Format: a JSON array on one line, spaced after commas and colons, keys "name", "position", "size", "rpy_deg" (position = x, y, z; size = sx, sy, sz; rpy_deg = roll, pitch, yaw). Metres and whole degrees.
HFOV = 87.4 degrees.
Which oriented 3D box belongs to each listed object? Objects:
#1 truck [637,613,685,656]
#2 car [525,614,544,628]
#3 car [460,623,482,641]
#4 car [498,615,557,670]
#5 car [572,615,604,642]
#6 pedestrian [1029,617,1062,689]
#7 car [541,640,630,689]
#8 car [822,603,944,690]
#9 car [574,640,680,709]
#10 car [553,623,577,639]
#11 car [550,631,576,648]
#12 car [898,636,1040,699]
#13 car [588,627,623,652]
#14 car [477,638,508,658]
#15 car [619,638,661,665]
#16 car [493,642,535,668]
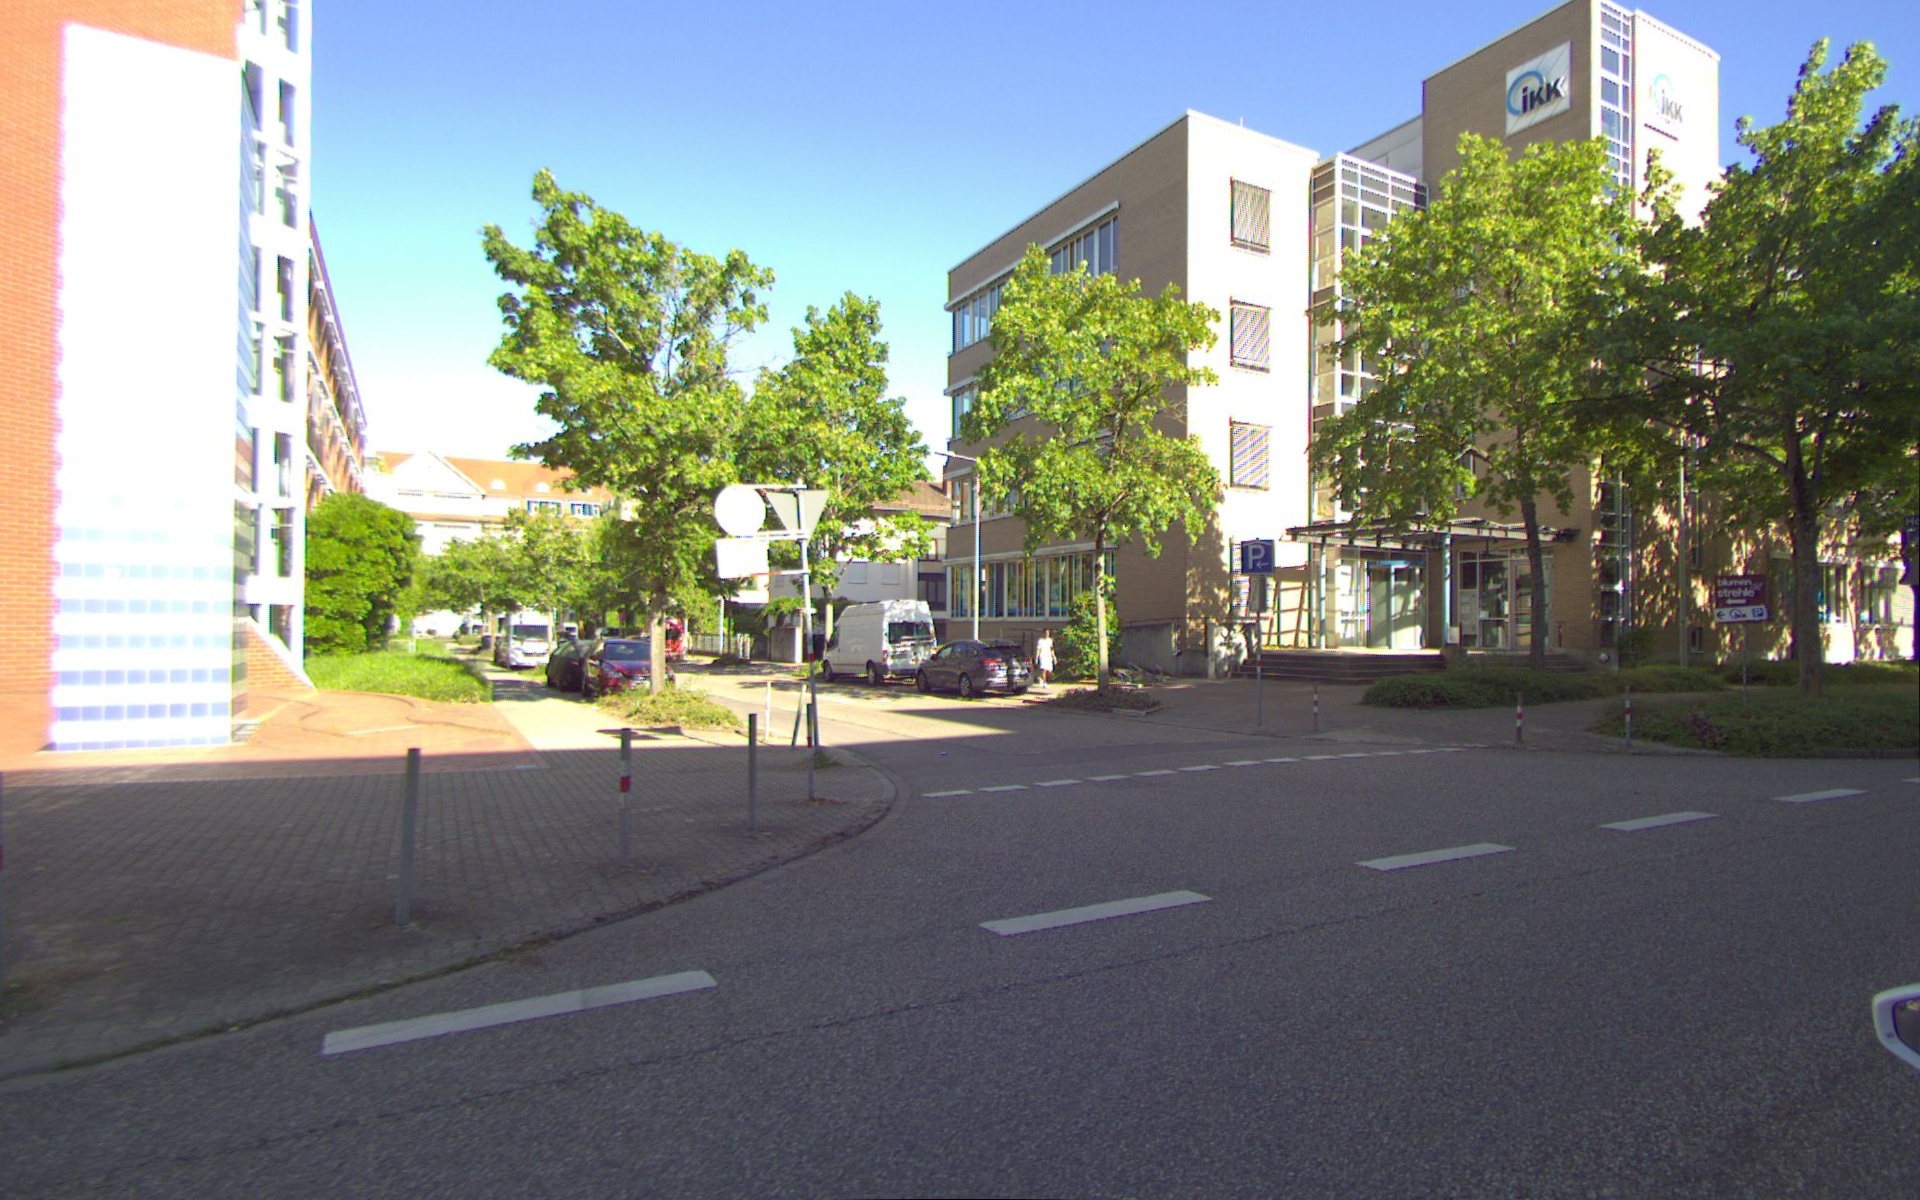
[{"name": "truck", "position": [-18.503, 2.144, 62.105], "size": [1.976, 2.574, 3.969], "rpy_deg": [1, -3, -30]}, {"name": "car", "position": [-55.303, 2.715, 130.466], "size": [1.961, 1.734, 4.146], "rpy_deg": [1, -3, -28]}, {"name": "car", "position": [-47.717, 3.130, 98.047], "size": [1.752, 1.695, 3.976], "rpy_deg": [1, -2, -25]}, {"name": "car", "position": [-19.211, 1.838, 44.533], "size": [2.059, 2.300, 4.690], "rpy_deg": [1, -2, -28]}, {"name": "car", "position": [-32.461, 2.541, 87.498], "size": [2.059, 2.299, 4.691], "rpy_deg": [1, -3, -28]}, {"name": "pedestrian", "position": [2.353, 1.449, 27.601], "size": [0.663, 1.943, 0.619], "rpy_deg": [1, -2, -27]}, {"name": "car", "position": [-11.011, 1.854, 29.336], "size": [1.825, 1.202, 4.690], "rpy_deg": [4, -3, -27]}, {"name": "car", "position": [-2.623, 1.468, 32.713], "size": [1.900, 2.603, 5.438], "rpy_deg": [1, -2, -29]}, {"name": "car", "position": [-8.355, 1.764, 24.960], "size": [1.824, 1.471, 4.409], "rpy_deg": [1, -2, -28]}, {"name": "car", "position": [-40.778, 3.225, 103.670], "size": [1.846, 1.668, 4.298], "rpy_deg": [1, -3, -28]}, {"name": "car", "position": [-36.821, 3.671, 93.113], "size": [1.836, 1.575, 3.665], "rpy_deg": [1, -3, -27]}, {"name": "car", "position": [0.129, 1.760, 27.204], "size": [1.825, 1.483, 4.688], "rpy_deg": [1, -2, -29]}, {"name": "car", "position": [-28.426, 3.155, 80.431], "size": [2.059, 1.892, 4.691], "rpy_deg": [1, -3, -28]}, {"name": "car", "position": [-31.751, 3.242, 68.152], "size": [1.747, 1.348, 4.053], "rpy_deg": [1, -3, -28]}, {"name": "car", "position": [-21.669, 3.454, 67.961], "size": [1.963, 1.755, 4.691], "rpy_deg": [1, -3, -28]}, {"name": "car", "position": [-24.275, 2.979, 54.572], "size": [1.824, 1.348, 4.053], "rpy_deg": [1, -3, -28]}]
